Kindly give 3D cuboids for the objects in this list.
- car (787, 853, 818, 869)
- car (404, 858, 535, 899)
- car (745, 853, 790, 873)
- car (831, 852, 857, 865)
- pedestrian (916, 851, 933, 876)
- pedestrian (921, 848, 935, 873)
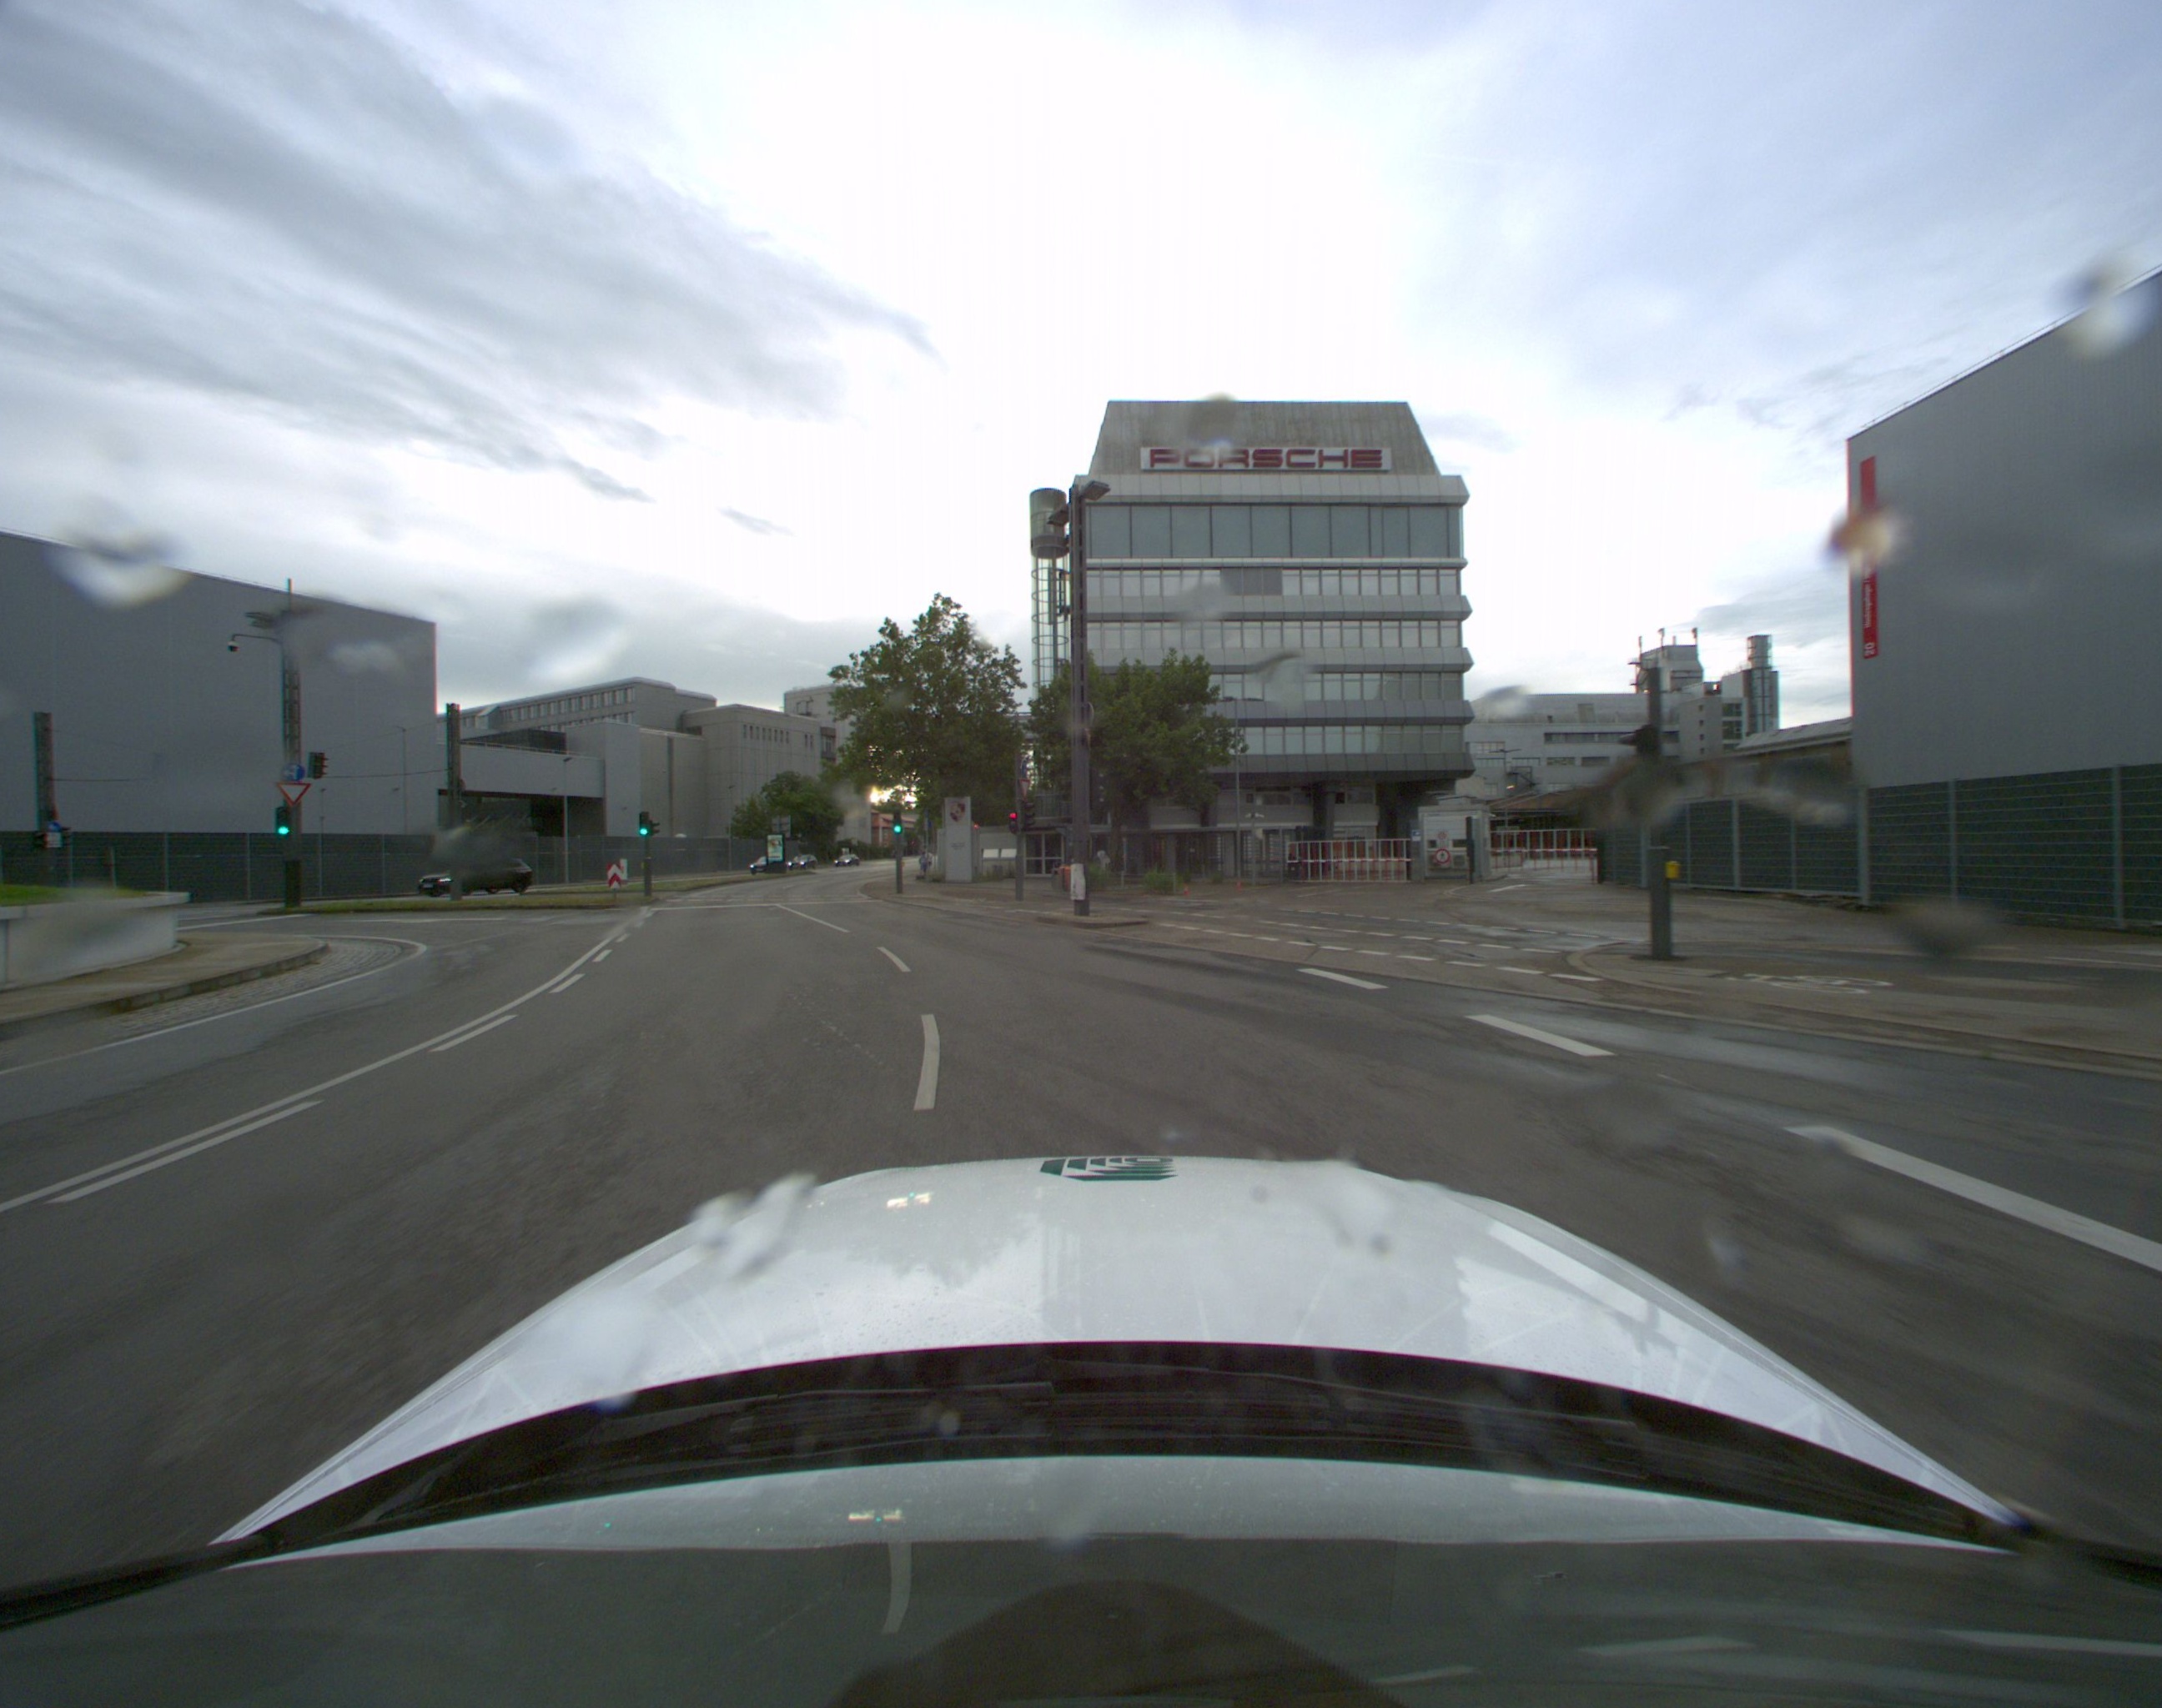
[{"bbox_3d":[-28.552,0.684,83.625,1.778,1.454,4.556,-3,1,-3],"label":"car"},{"bbox_3d":[-27.304,1.057,36.602,1.770,1.588,4.583,-1,1,13],"label":"car"},{"bbox_3d":[-25.147,0.711,65.518,1.776,1.440,4.397,-1,1,2],"label":"car"},{"bbox_3d":[-28.166,0.568,97.016,1.778,1.385,4.543,-3,1,-2],"label":"car"},{"bbox_3d":[-9.637,0.565,50.165,0.828,1.520,0.842,-1,0,2],"label":"pedestrian"},{"bbox_3d":[-9.832,0.435,52.386,0.706,1.592,0.841,-1,0,3],"label":"pedestrian"}]
